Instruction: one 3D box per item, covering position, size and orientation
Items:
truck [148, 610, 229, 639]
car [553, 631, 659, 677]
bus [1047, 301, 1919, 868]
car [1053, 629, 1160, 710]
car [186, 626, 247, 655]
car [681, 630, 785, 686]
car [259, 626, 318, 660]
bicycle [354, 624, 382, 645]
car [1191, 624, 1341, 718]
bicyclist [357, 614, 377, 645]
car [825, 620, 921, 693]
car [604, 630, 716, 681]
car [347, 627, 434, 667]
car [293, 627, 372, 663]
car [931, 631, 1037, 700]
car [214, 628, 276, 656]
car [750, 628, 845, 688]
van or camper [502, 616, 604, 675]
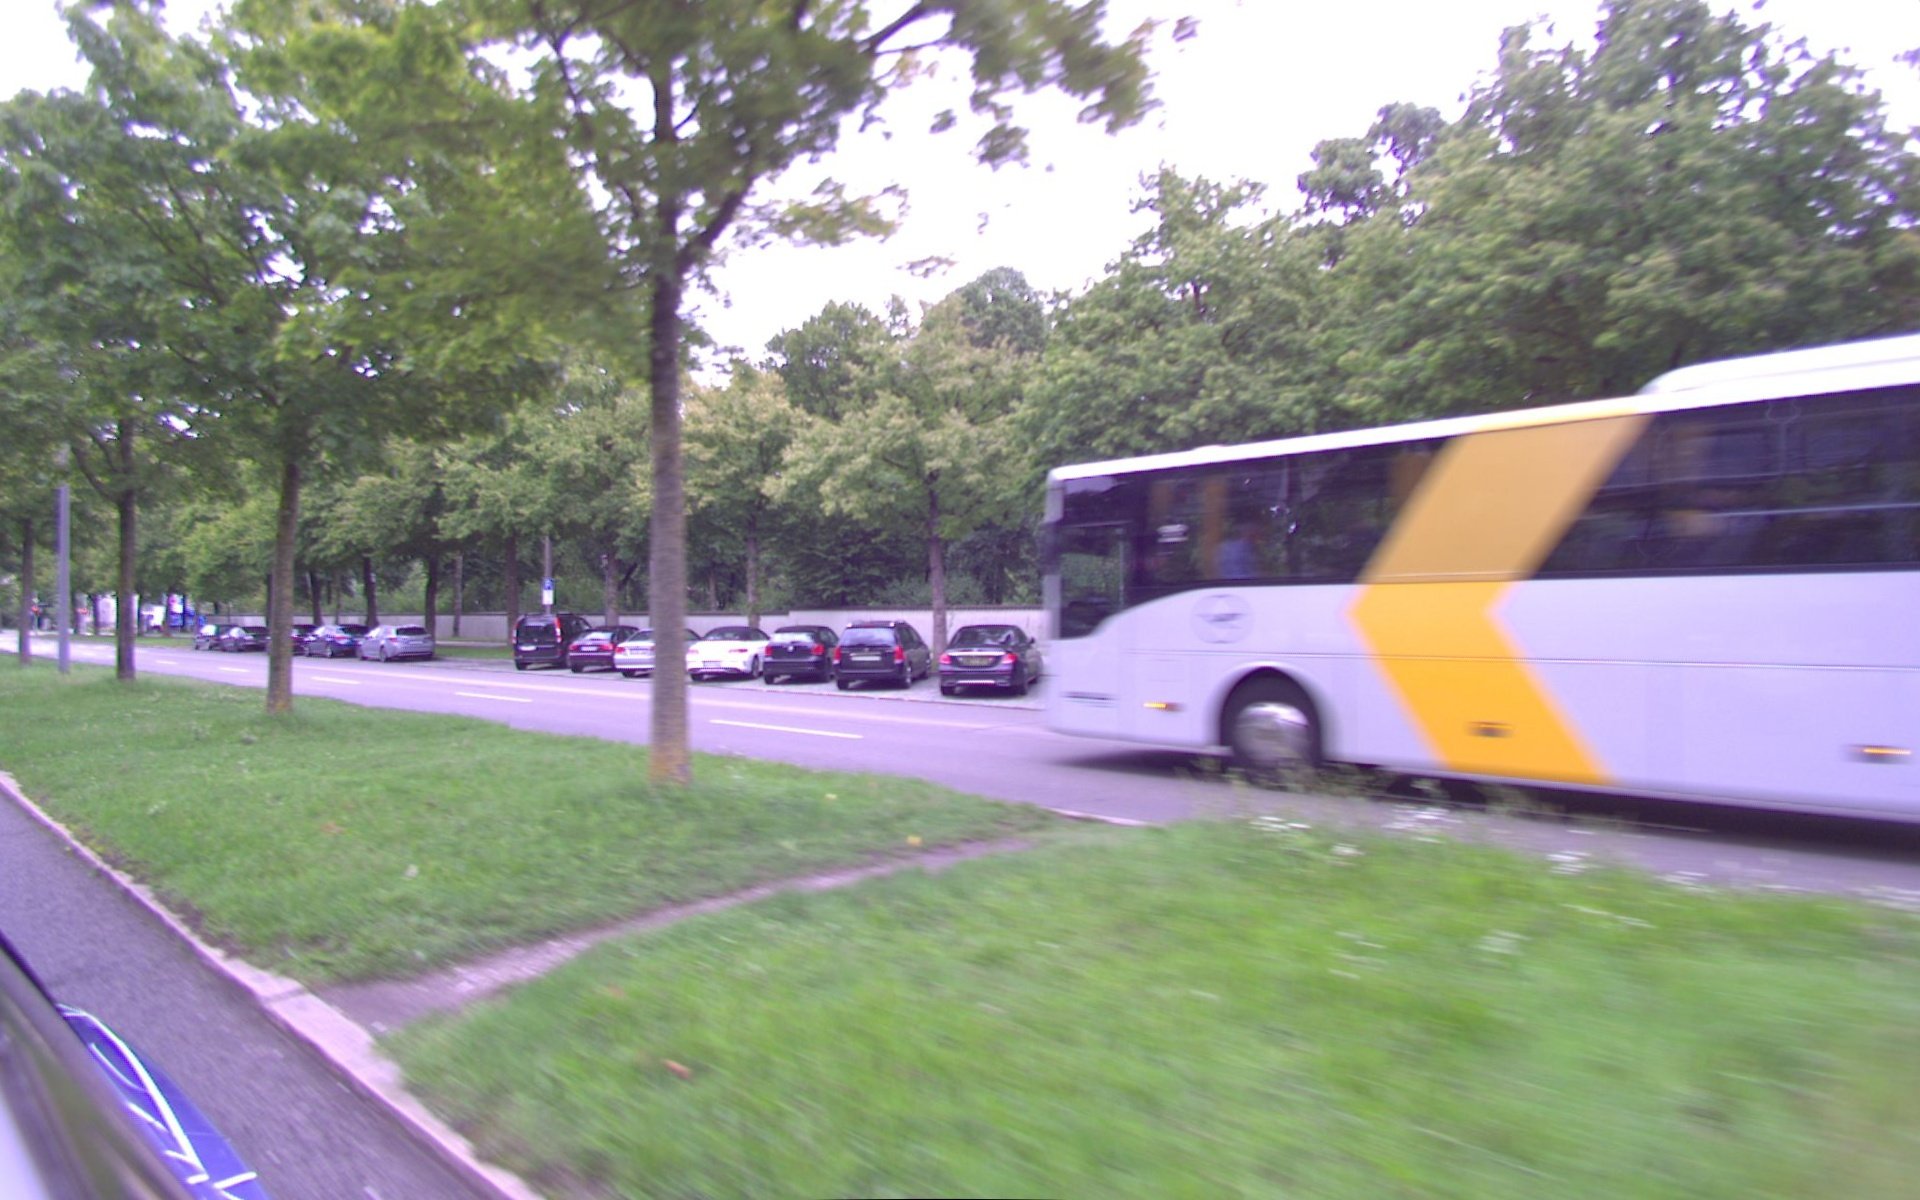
[{"bbox_3d":[-97.052,3.071,127.457,2.771,3.515,7.715,-1,-2,42],"label":"truck"},{"bbox_3d":[-11.392,1.700,32.802,1.735,1.364,3.568,-1,-1,10],"label":"car"},{"bbox_3d":[6.272,-0.043,7.425,12.008,3.403,2.709,-1,-3,42],"label":"bus"},{"bbox_3d":[2.888,1.299,20.306,1.896,1.420,4.188,0,-1,7],"label":"car"},{"bbox_3d":[-42.687,2.290,58.084,4.912,1.501,1.781,-1,0,41],"label":"car"},{"bbox_3d":[-6.185,1.550,28.015,1.654,1.392,4.036,0,-1,5],"label":"car"},{"bbox_3d":[-32.204,2.033,48.493,4.305,1.514,1.553,-1,0,45],"label":"car"},{"bbox_3d":[-33.685,1.953,57.575,2.115,1.170,0.705,-1,-2,41],"label":"bicycle"},{"bbox_3d":[5.327,1.178,18.175,1.896,1.481,4.098,0,-1,7],"label":"car"},{"bbox_3d":[-33.768,1.654,57.655,0.922,1.760,0.697,-1,-2,41],"label":"bicyclist"},{"bbox_3d":[-2.013,1.297,24.527,1.893,1.609,4.105,0,-1,2],"label":"car"},{"bbox_3d":[-8.764,1.605,29.920,1.828,1.364,3.992,0,-1,6],"label":"car"},{"bbox_3d":[-23.021,1.856,40.809,4.807,1.450,1.618,-1,0,42],"label":"car"},{"bbox_3d":[-27.987,1.964,45.104,4.795,1.470,1.570,-1,0,40],"label":"car"},{"bbox_3d":[0.624,1.356,22.221,1.896,1.332,4.192,0,-1,7],"label":"car"},{"bbox_3d":[-38.313,2.228,54.173,4.704,1.406,1.642,-1,0,41],"label":"car"},{"bbox_3d":[-4.197,1.475,26.785,1.892,1.433,4.241,0,-1,0],"label":"car"},{"bbox_3d":[-13.768,1.508,34.509,1.824,1.869,4.125,0,-1,0],"label":"van or camper"}]
